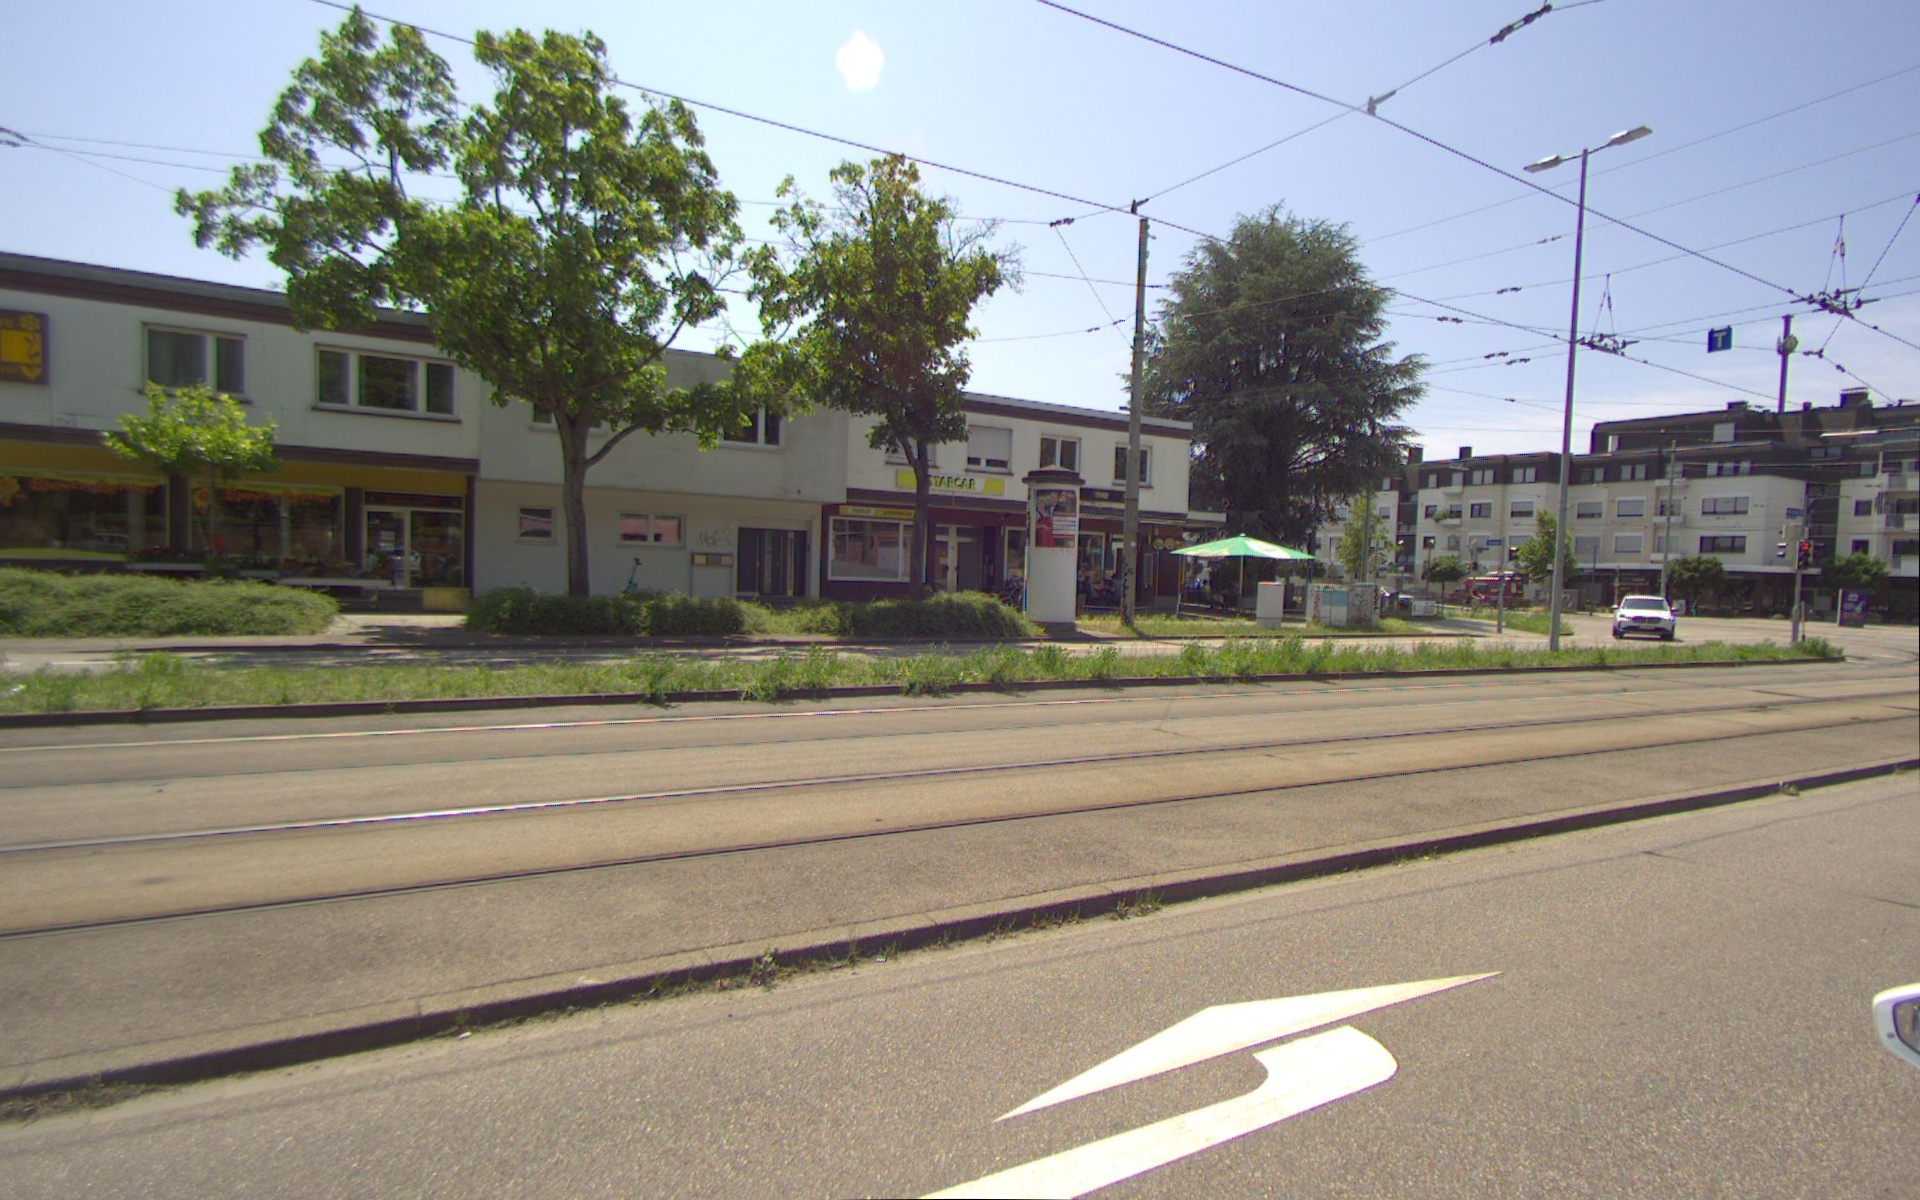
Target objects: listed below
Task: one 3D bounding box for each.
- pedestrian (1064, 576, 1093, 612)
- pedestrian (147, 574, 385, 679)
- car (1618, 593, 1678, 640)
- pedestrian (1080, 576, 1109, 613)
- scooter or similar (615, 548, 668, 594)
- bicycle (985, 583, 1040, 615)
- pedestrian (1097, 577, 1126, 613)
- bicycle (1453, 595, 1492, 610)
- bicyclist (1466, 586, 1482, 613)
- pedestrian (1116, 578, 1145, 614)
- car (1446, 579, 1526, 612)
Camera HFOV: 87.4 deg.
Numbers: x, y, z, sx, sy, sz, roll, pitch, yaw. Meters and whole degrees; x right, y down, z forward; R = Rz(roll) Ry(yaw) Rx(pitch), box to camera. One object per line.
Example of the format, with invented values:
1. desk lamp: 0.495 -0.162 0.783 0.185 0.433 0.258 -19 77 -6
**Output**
1. pedestrian: 4.343 -0.223 36.684 0.832 1.285 0.586 2 0 -30
2. pedestrian: -14.537 0.550 21.344 3.954 2.040 1.983 2 0 -31
3. car: 26.063 0.627 38.000 1.701 1.631 4.553 2 0 36
4. pedestrian: 4.828 -0.201 36.054 0.832 1.285 0.586 2 0 -30
5. scooter or similar: -8.795 -0.787 27.778 1.321 1.207 0.455 2 0 -10
6. bicycle: 1.679 -0.032 32.309 1.738 0.992 0.536 2 0 -30
7. pedestrian: 5.630 -0.184 37.312 0.832 1.285 0.586 2 0 -30
8. bicycle: 30.014 0.139 58.847 1.956 0.794 0.464 2 0 40
9. bicyclist: 30.080 -0.016 58.796 0.741 1.521 0.480 2 0 39
10. pedestrian: 6.251 -0.150 36.834 0.832 1.285 0.586 2 0 -30
11. car: 40.940 -0.378 78.310 2.219 2.372 5.038 2 0 -31
